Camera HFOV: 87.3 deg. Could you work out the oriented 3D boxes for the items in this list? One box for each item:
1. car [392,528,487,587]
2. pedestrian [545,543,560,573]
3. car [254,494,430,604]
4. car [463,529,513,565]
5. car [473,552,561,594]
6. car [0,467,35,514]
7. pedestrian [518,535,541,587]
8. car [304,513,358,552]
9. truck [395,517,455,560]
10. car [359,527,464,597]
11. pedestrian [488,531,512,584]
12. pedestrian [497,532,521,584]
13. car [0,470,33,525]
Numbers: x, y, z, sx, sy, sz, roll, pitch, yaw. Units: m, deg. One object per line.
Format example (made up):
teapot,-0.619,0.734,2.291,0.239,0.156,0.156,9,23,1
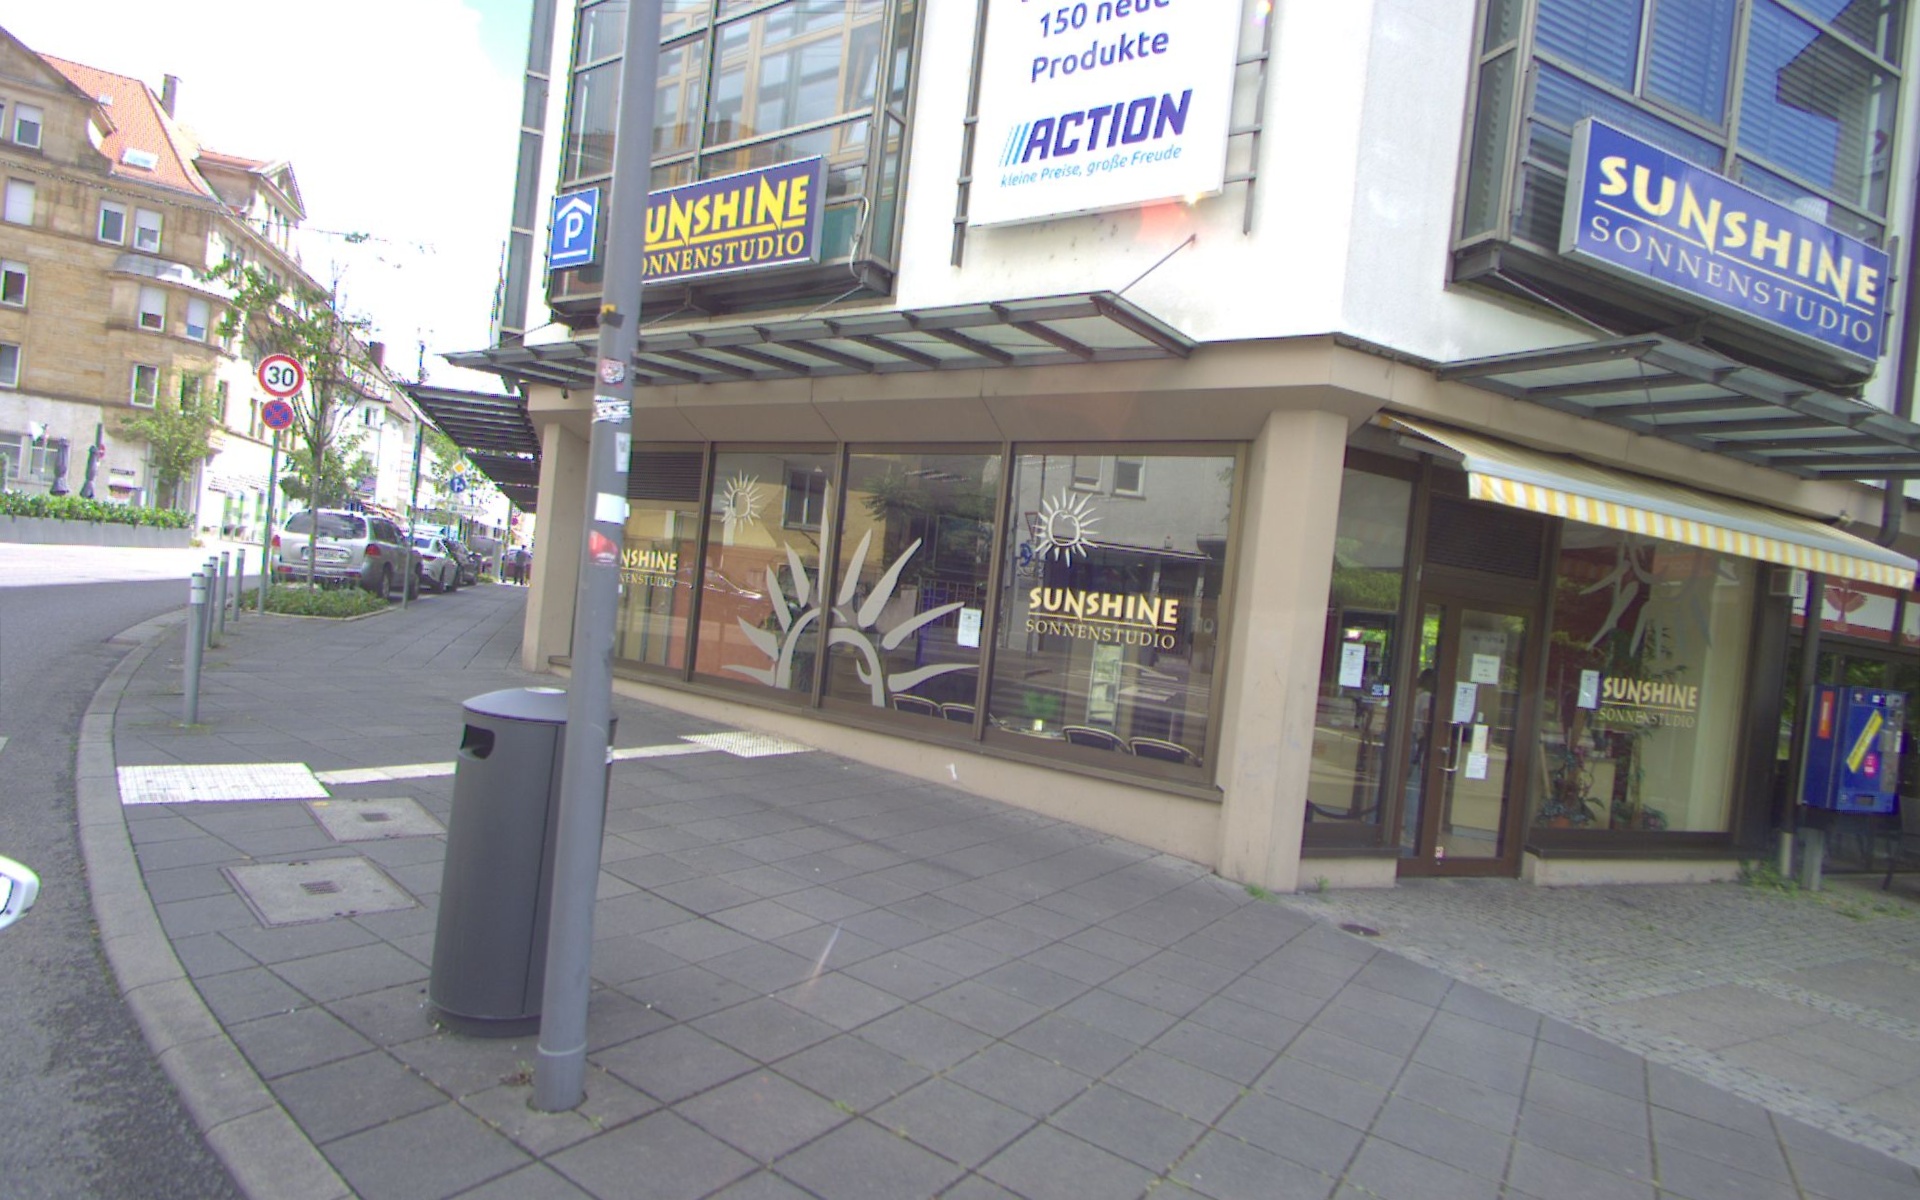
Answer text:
car,-16.424,-1.311,31.936,1.802,1.538,4.217,6,0,-17
pedestrian,-28.812,-2.958,71.114,0.674,2.038,0.596,7,1,-16
car,-11.983,-0.944,19.832,1.802,1.752,4.217,6,0,-17
car,-29.348,-3.278,62.726,1.948,1.899,5.018,7,0,-17
car,-21.022,-1.283,47.841,3.584,1.429,1.582,9,-1,-21
car,-38.308,-4.464,38.352,3.951,1.682,1.897,8,0,-26
pedestrian,-17.900,-1.620,41.824,0.682,2.038,0.719,7,1,-25
car,-32.920,-3.526,52.760,1.693,1.733,3.976,7,0,-24
truck,-31.448,-3.576,59.305,2.042,2.192,5.271,6,0,-18
car,-13.873,-0.969,25.662,1.603,1.452,4.219,7,0,-20
pedestrian,-18.359,-1.693,40.167,0.682,2.038,0.719,7,1,-25
pedestrian,-18.549,-1.710,41.344,0.682,2.038,0.719,7,1,-25
car,-34.542,-3.783,33.981,4.394,1.797,1.980,8,0,-36
